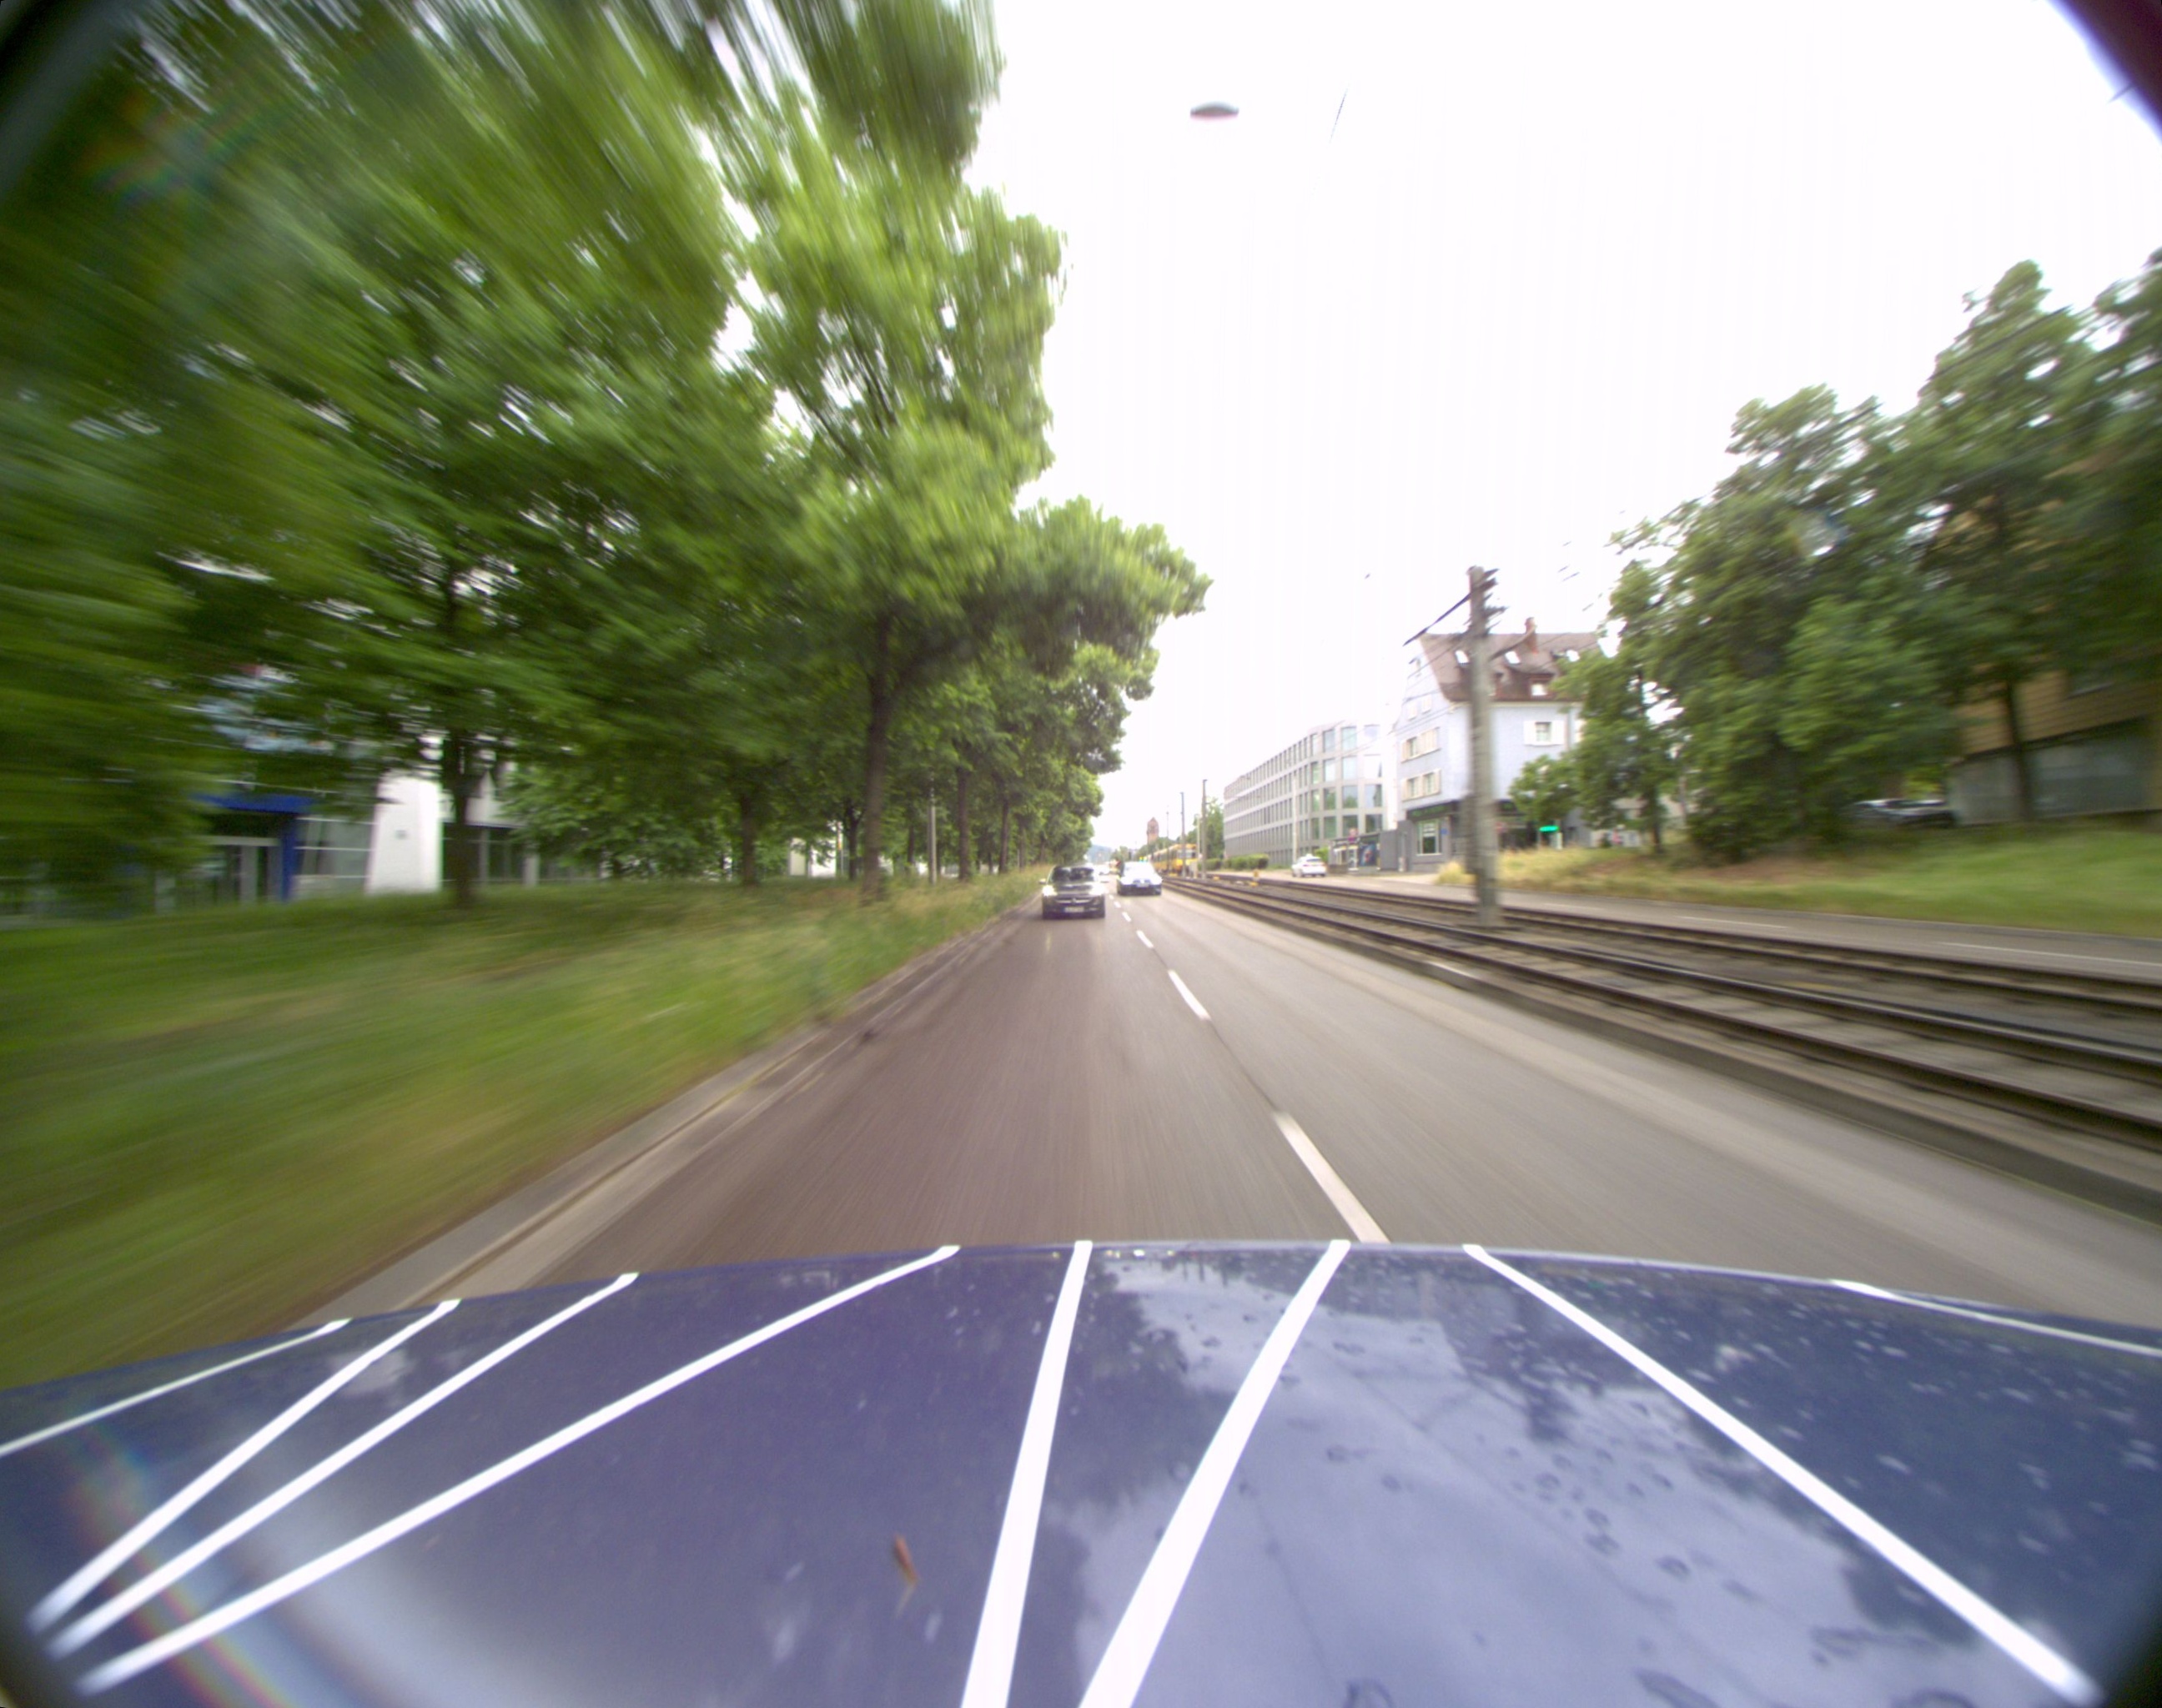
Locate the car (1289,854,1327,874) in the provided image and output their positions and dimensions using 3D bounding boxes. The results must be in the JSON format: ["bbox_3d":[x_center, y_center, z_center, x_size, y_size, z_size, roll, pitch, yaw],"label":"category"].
[{"bbox_3d":[17.616,0.744,59.157,1.657,1.520,4.381,-1,0,1],"label":"car"}]

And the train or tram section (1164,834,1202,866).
[{"bbox_3d":[13.345,-0.338,101.108,2.974,3.788,19.524,-1,-1,2],"label":"train or tram section"}]

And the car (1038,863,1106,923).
[{"bbox_3d":[-0.170,1.027,21.933,1.698,1.439,4.421,-3,0,2],"label":"car"}]

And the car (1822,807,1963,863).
[{"bbox_3d":[31.927,-0.693,30.095,1.963,2.002,4.222,-1,0,17],"label":"car"}]

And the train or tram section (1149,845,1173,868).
[{"bbox_3d":[14.538,0.544,139.305,2.974,3.788,18.618,-1,-1,2],"label":"train or tram section"}]

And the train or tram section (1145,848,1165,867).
[{"bbox_3d":[15.272,0.772,157.875,2.974,3.788,18.618,-1,-1,2],"label":"train or tram section"}]

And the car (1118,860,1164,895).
[{"bbox_3d":[2.630,1.024,34.187,1.770,1.439,3.833,-1,0,1],"label":"car"}]
